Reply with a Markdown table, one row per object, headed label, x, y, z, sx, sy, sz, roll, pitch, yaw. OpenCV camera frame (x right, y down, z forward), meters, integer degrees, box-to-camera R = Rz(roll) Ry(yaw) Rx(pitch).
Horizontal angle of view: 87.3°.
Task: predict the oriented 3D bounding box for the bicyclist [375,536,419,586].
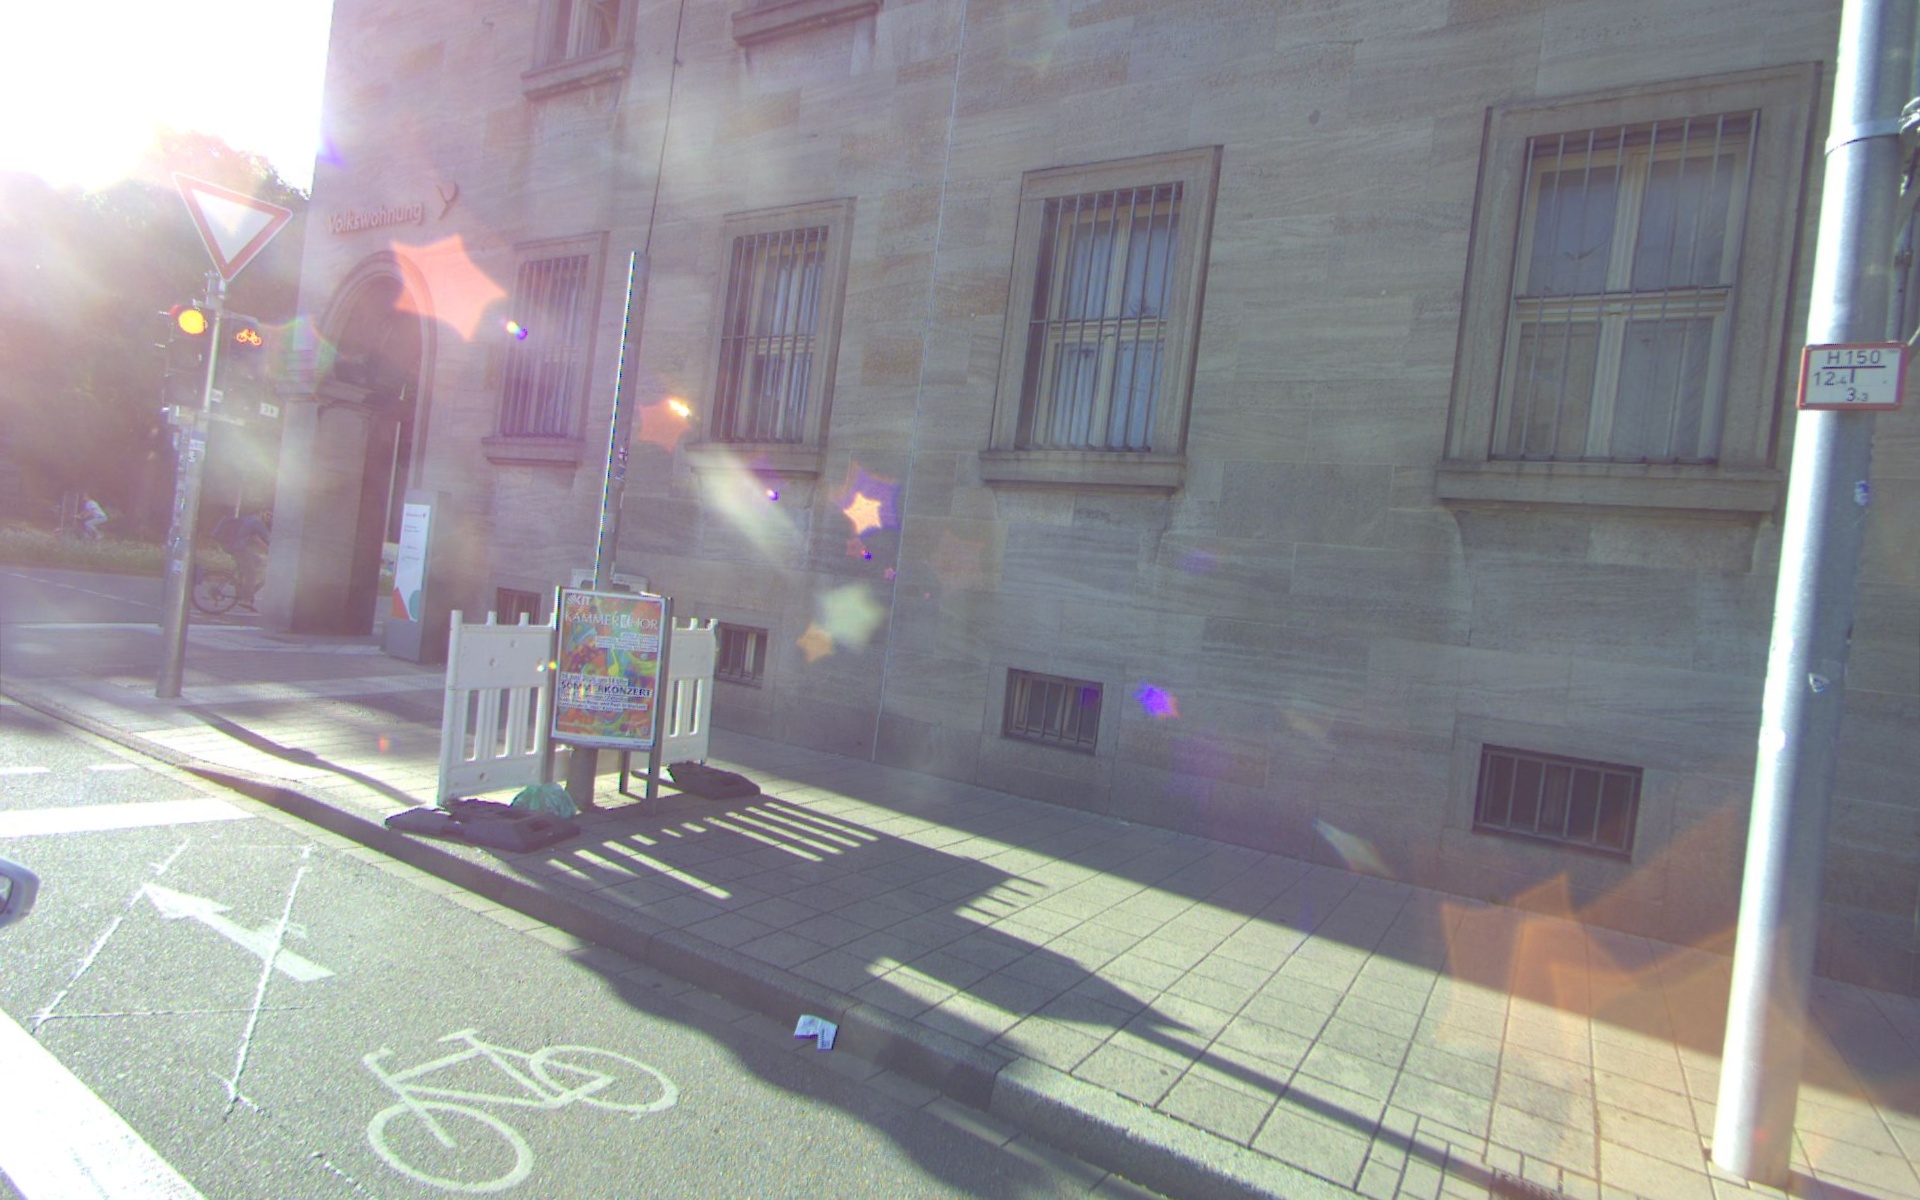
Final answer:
| label | x | y | z | sx | sy | sz | roll | pitch | yaw |
| --- | --- | --- | --- | --- | --- | --- | --- | --- | --- |
| bicyclist | -20.414 | -1.421 | 36.485 | 0.587 | 1.661 | 1.075 | 7 | 0 | 35 |

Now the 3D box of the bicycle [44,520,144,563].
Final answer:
| label | x | y | z | sx | sy | sz | roll | pitch | yaw |
| --- | --- | --- | --- | --- | --- | --- | --- | --- | --- |
| bicycle | -25.127 | -1.684 | 29.220 | 0.565 | 0.944 | 2.068 | 7 | -1 | 30 |

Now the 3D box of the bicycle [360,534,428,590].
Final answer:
| label | x | y | z | sx | sy | sz | roll | pitch | yaw |
| --- | --- | --- | --- | --- | --- | --- | --- | --- | --- |
| bicycle | -20.473 | -1.353 | 36.422 | 0.587 | 1.756 | 1.898 | 7 | 0 | 35 |

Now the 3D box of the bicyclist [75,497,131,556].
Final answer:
| label | x | y | z | sx | sy | sz | roll | pitch | yaw |
| --- | --- | --- | --- | --- | --- | --- | --- | --- | --- |
| bicyclist | -25.007 | -2.141 | 29.359 | 0.565 | 1.579 | 0.976 | 7 | 0 | 30 |

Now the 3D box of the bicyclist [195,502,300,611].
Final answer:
| label | x | y | z | sx | sy | sz | roll | pitch | yaw |
| --- | --- | --- | --- | --- | --- | --- | --- | --- | --- |
| bicyclist | -11.871 | -0.711 | 16.777 | 0.755 | 1.614 | 1.123 | 10 | 2 | 39 |

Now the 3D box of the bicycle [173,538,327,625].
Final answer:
| label | x | y | z | sx | sy | sz | roll | pitch | yaw |
| --- | --- | --- | --- | --- | --- | --- | --- | --- | --- |
| bicycle | -11.870 | -0.286 | 16.864 | 0.755 | 1.172 | 1.872 | 10 | 1 | 38 |
